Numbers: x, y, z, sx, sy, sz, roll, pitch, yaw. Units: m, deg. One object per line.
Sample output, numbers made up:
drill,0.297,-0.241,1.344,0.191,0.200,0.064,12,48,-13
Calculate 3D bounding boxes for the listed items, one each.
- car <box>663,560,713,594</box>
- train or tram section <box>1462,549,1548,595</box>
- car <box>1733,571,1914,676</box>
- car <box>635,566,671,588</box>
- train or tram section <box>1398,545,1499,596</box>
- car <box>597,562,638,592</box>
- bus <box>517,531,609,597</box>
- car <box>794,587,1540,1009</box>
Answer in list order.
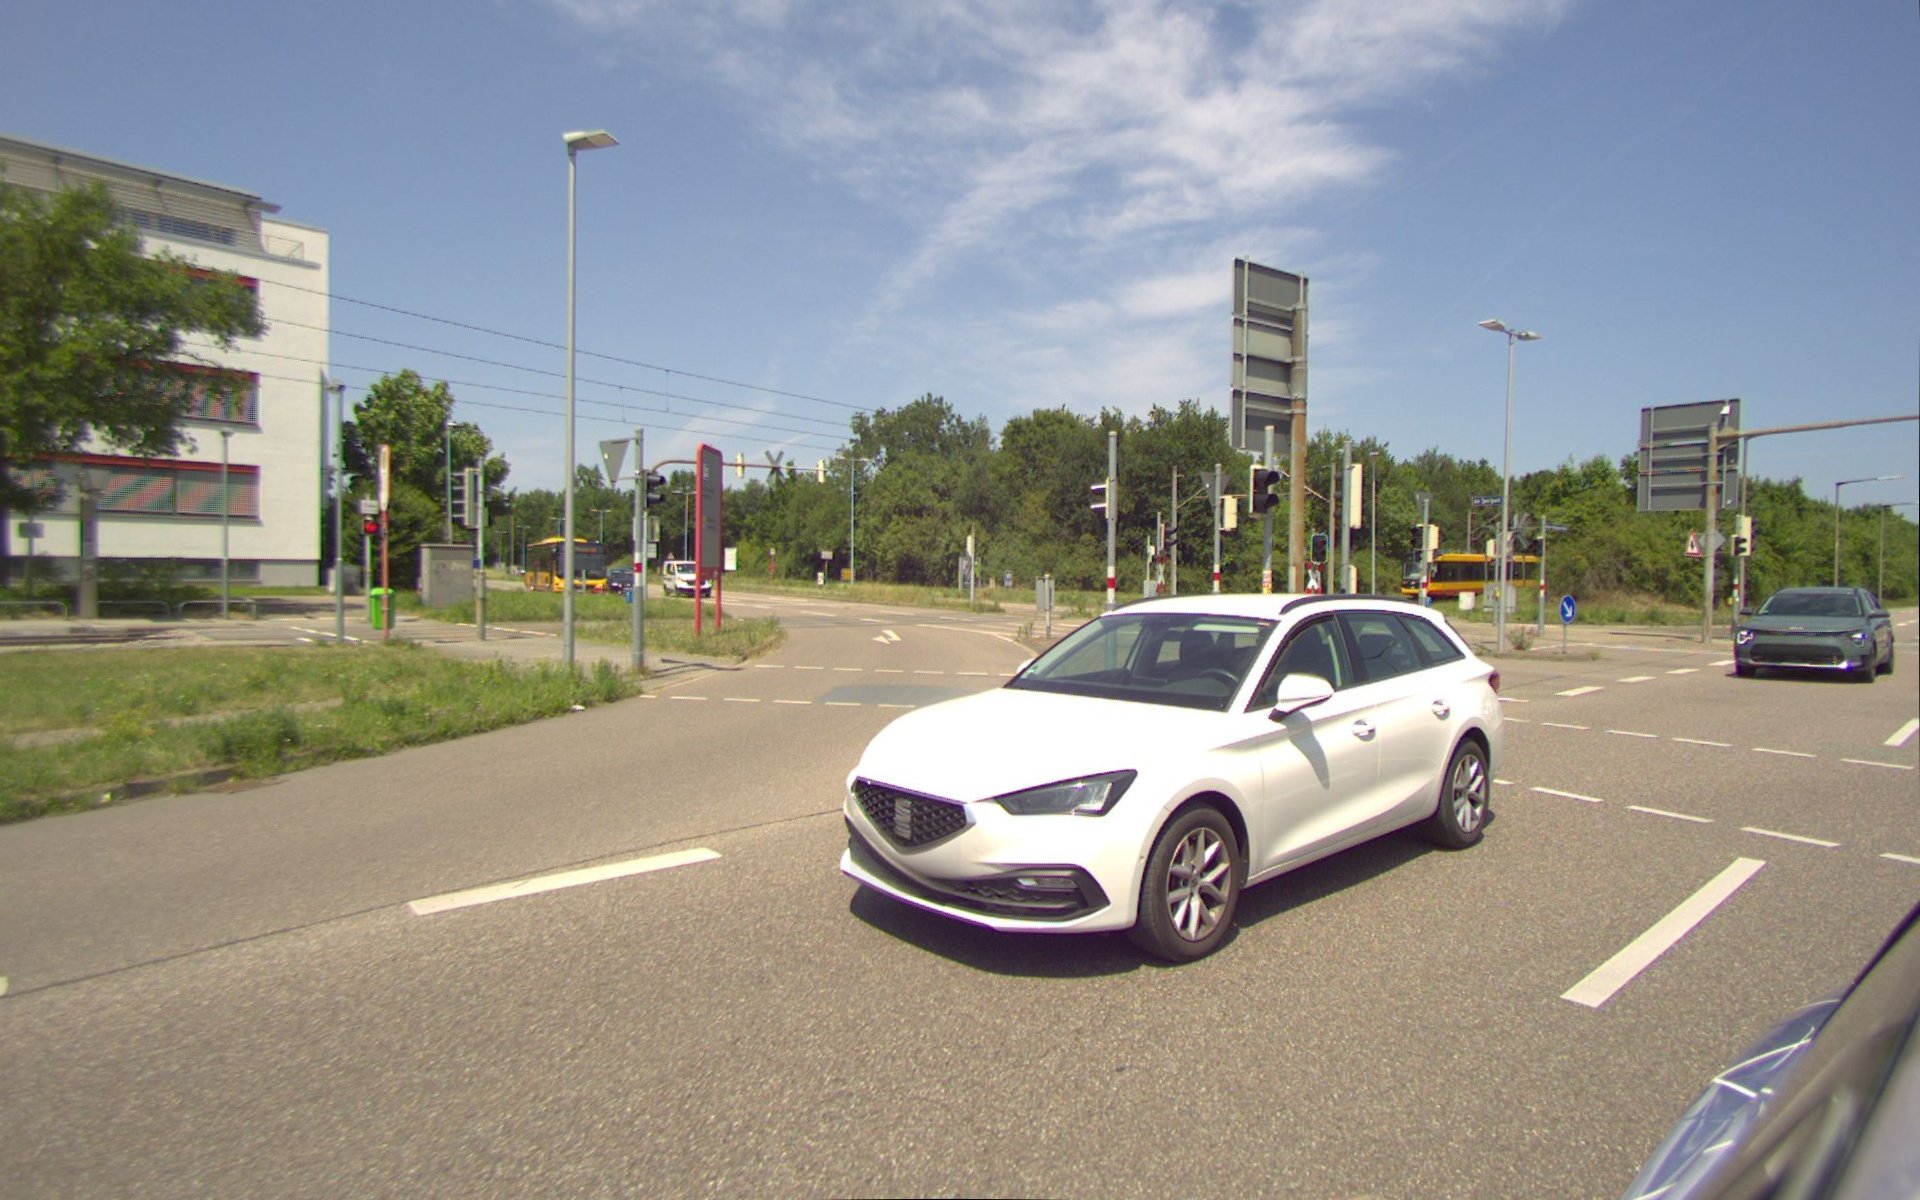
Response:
car,-14.974,-1.254,55.504,1.790,1.750,5.081,-1,1,-25
train or tram section,46.208,-2.350,85.580,12.296,3.626,2.816,-1,2,-44
car,15.067,0.330,17.597,3.928,1.616,1.723,0,2,-39
car,-26.657,-2.009,87.765,1.962,1.812,4.001,0,1,-34
train or tram section,37.315,-2.206,76.984,12.294,3.626,2.817,-1,2,-44
car,-19.304,-1.279,56.905,1.640,1.599,4.007,0,1,-26
bus,-21.495,-1.870,54.254,2.783,3.158,12.092,-1,2,-30
car,1.418,0.644,5.505,4.373,1.407,1.685,-1,1,-41
